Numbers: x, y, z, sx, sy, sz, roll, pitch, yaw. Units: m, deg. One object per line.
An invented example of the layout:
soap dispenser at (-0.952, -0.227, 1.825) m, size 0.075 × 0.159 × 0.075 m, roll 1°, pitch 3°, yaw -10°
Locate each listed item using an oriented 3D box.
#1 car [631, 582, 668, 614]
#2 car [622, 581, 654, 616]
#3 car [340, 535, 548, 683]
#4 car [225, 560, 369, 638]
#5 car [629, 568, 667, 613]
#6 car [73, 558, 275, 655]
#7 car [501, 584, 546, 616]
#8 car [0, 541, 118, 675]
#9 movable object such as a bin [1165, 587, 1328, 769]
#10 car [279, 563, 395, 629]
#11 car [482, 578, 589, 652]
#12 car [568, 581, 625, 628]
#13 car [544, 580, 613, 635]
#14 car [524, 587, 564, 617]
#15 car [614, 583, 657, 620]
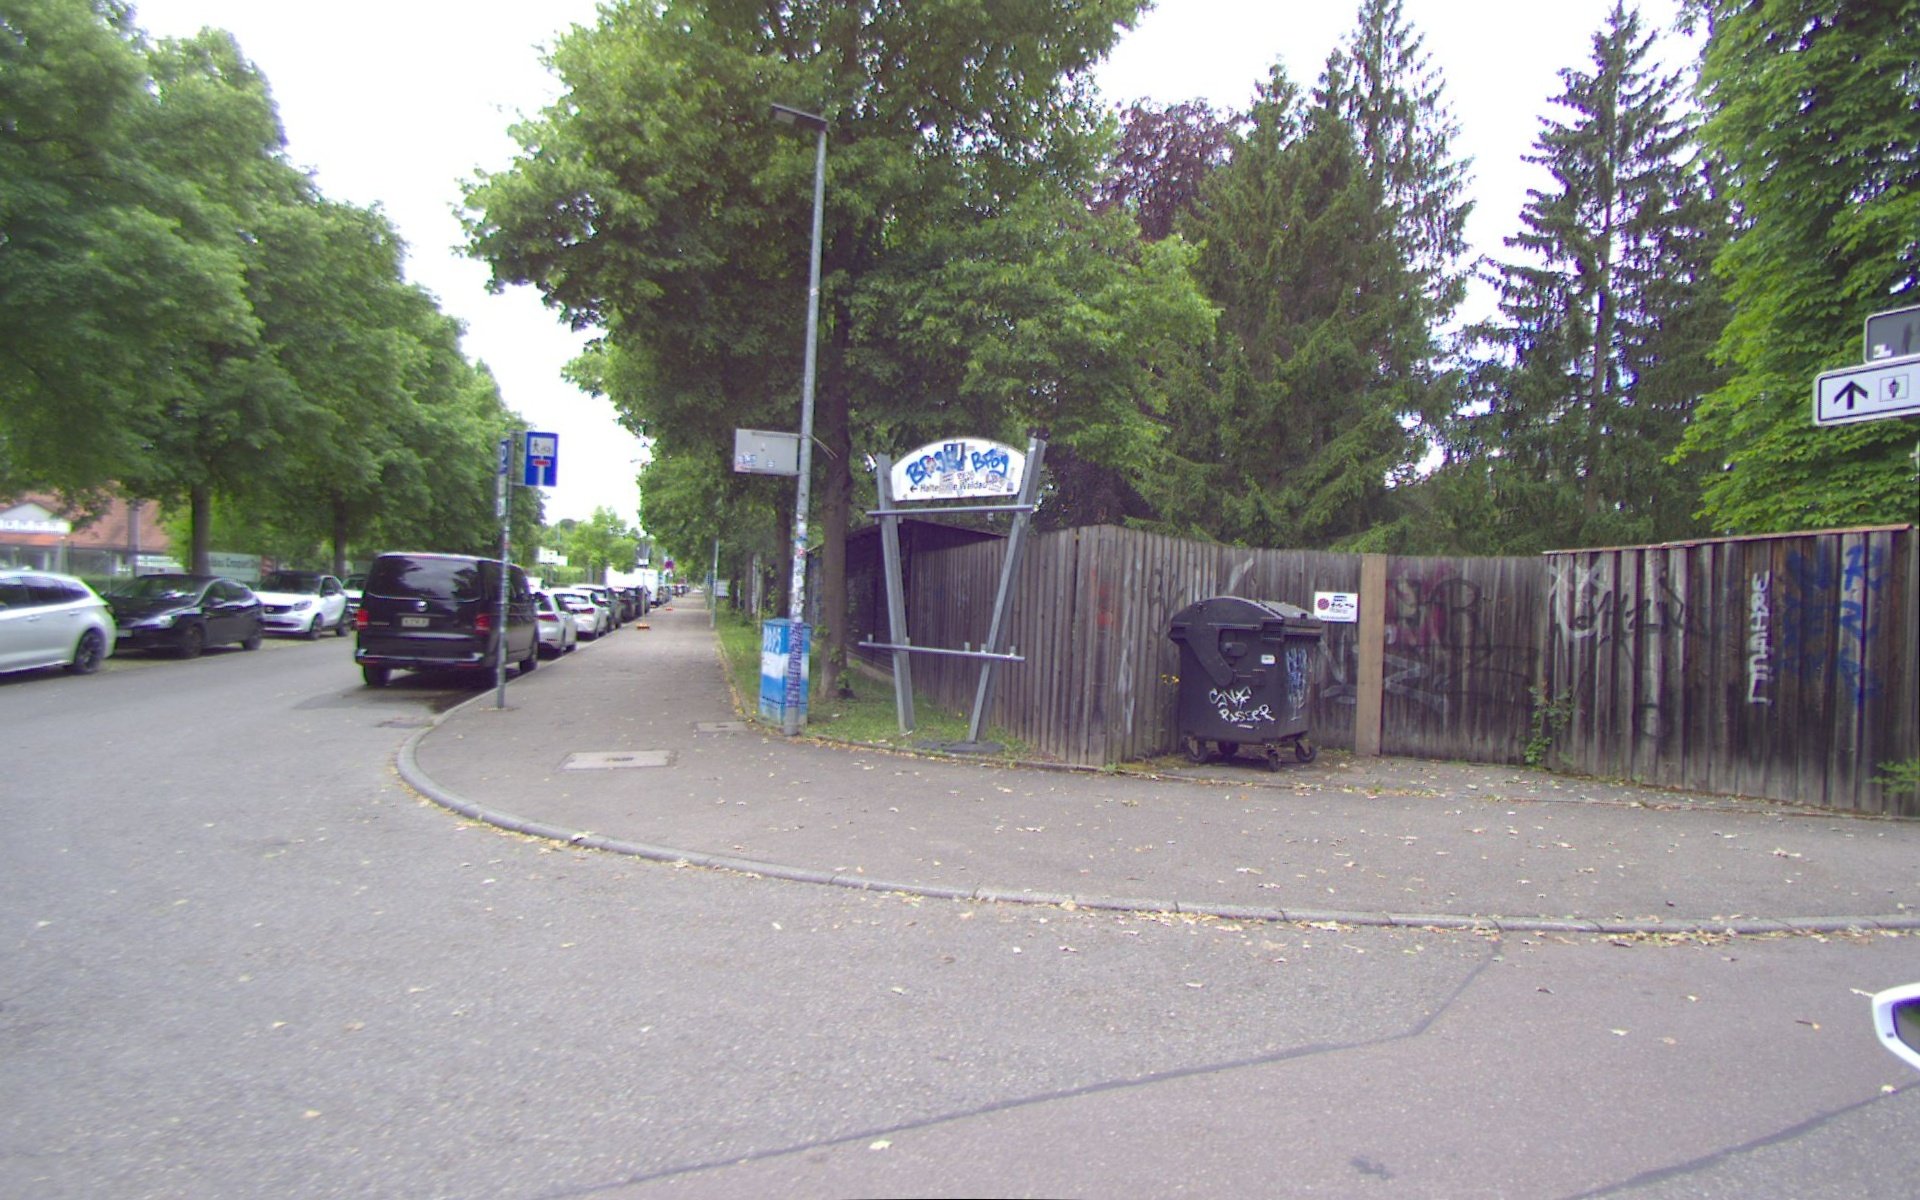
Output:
car at (-15.286, -0.096, 49.556) m, size 1.448 × 1.501 × 3.180 m, roll 2°, pitch 0°, yaw -13°
car at (-19.045, -0.087, 59.523) m, size 1.448 × 1.994 × 3.180 m, roll 2°, pitch 0°, yaw -13°
car at (-8.073, 0.138, 16.166) m, size 1.960 × 2.040 × 4.097 m, roll 2°, pitch 0°, yaw -13°
car at (-15.884, -0.025, 24.304) m, size 1.670 × 1.617 × 3.986 m, roll 4°, pitch -1°, yaw -16°
car at (-22.337, -0.626, 72.043) m, size 2.154 × 3.055 × 4.884 m, roll 2°, pitch 0°, yaw -13°
car at (-13.941, 0.112, 18.067) m, size 1.526 × 1.474 × 3.652 m, roll 4°, pitch -1°, yaw -17°
car at (-21.416, 0.009, 49.377) m, size 1.448 × 1.501 × 3.180 m, roll 2°, pitch 0°, yaw -13°
car at (-12.553, 0.054, 12.368) m, size 1.742 × 1.617 × 4.201 m, roll 3°, pitch -1°, yaw -17°
movable object such as a bin at (2.569, 0.645, 8.929) m, size 1.060 × 1.461 × 1.283 m, roll 1°, pitch -1°, yaw 32°
car at (-17.555, -0.107, 28.520) m, size 1.670 × 1.617 × 3.986 m, roll 4°, pitch -1°, yaw -16°
car at (-9.405, 0.315, 22.499) m, size 1.575 × 1.501 × 3.512 m, roll 2°, pitch 0°, yaw -13°
car at (-12.554, 0.145, 34.816) m, size 1.448 × 1.501 × 3.180 m, roll 2°, pitch 0°, yaw -13°
car at (-11.210, 0.219, 29.658) m, size 1.448 × 1.501 × 3.180 m, roll 2°, pitch 0°, yaw -13°
car at (-22.295, 0.092, 53.923) m, size 1.448 × 1.501 × 3.180 m, roll 2°, pitch 0°, yaw -13°
car at (-14.034, 0.050, 43.574) m, size 1.448 × 1.501 × 3.180 m, roll 2°, pitch 0°, yaw -13°
